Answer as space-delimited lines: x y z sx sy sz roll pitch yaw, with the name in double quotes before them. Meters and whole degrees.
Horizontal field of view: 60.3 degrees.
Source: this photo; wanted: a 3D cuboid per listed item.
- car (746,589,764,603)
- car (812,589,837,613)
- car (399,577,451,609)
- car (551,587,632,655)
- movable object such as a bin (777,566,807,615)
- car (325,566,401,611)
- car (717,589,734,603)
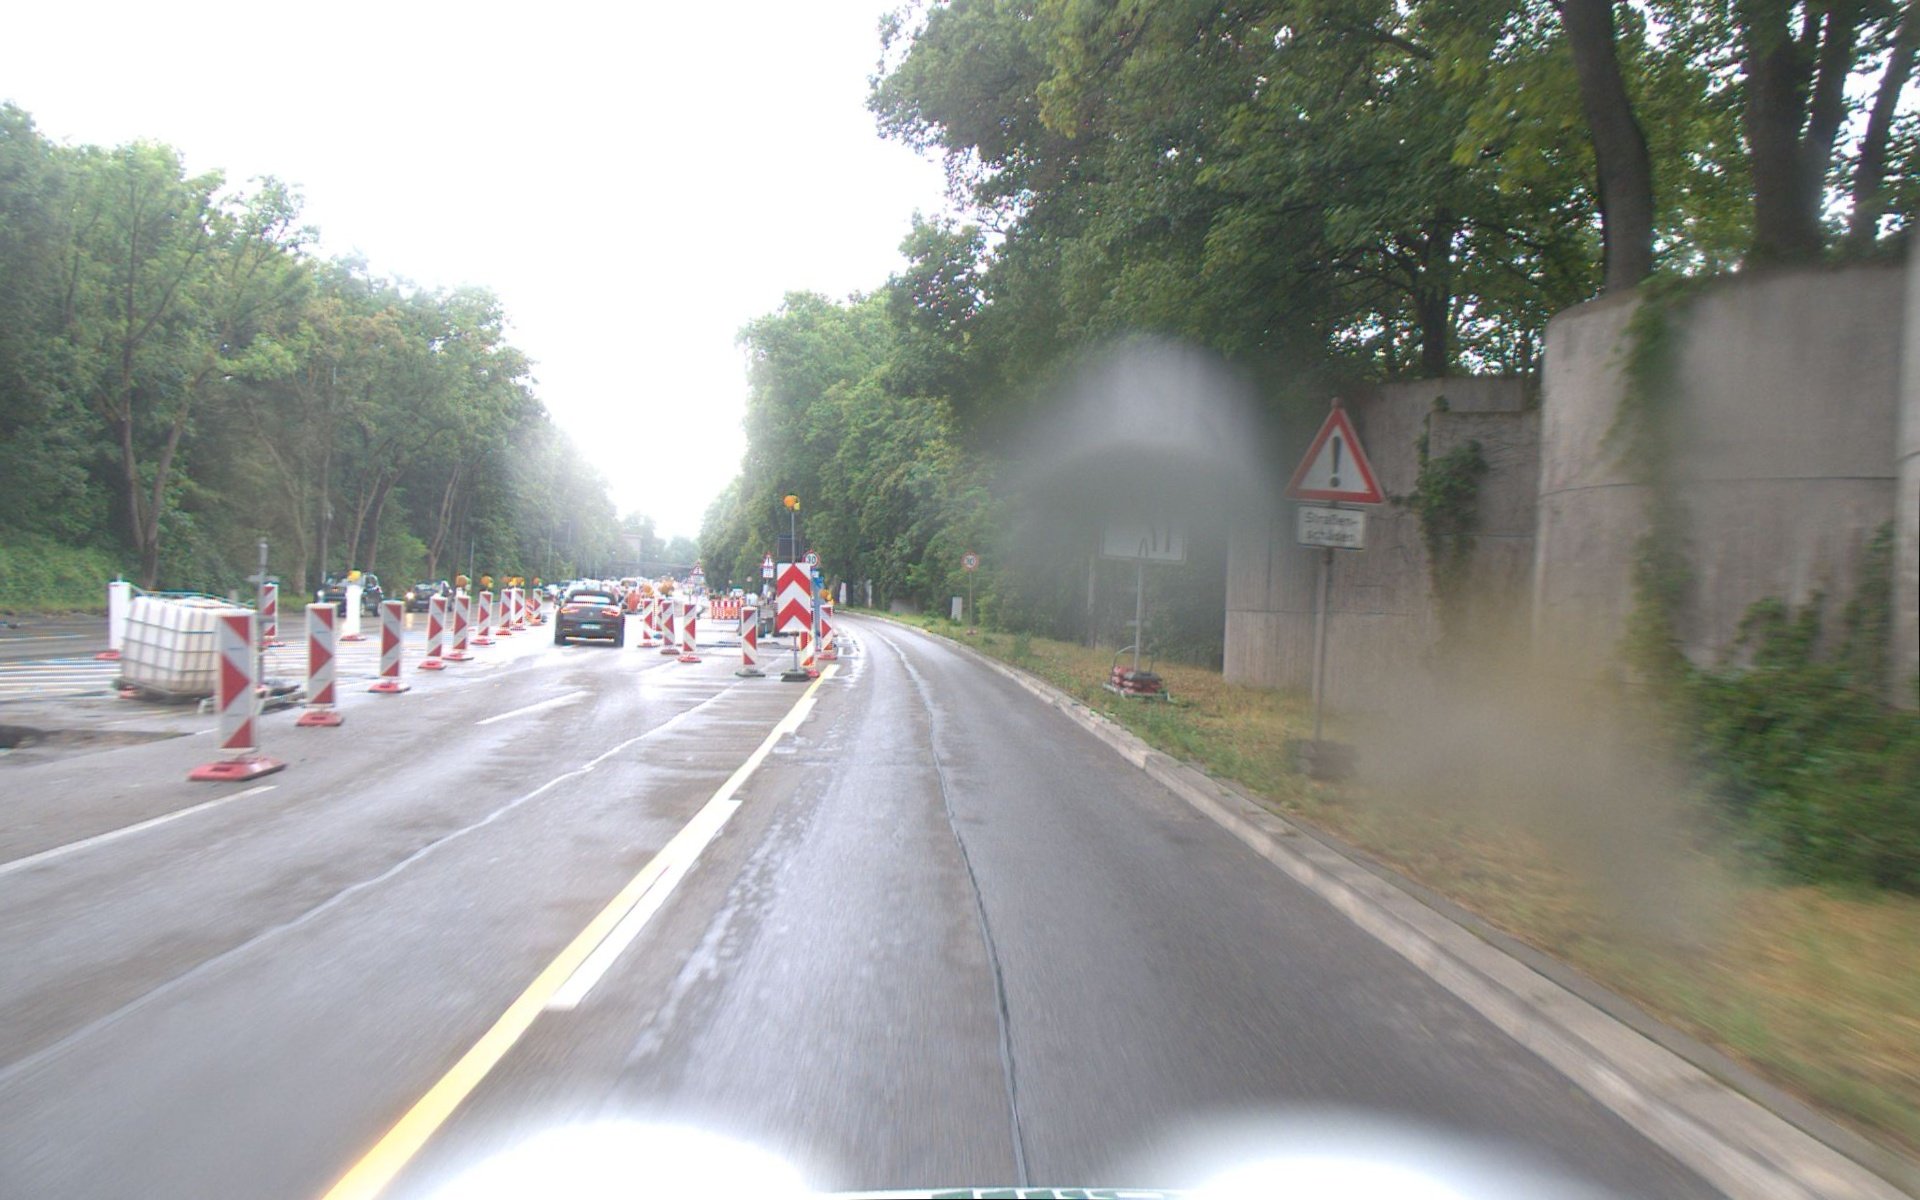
"car" -22.967 -0.474 185.554 1.725 1.367 3.991 3 1 -10
"car" -10.517 0.060 128.236 1.877 1.625 4.829 2 1 -5
"car" -25.304 -0.316 78.331 1.495 1.483 3.537 0 0 -3
"car" -9.949 0.540 44.883 1.828 1.517 3.993 3 2 -9
"movable object such as a bin" -10.225 -0.568 100.607 1.713 2.917 3.529 1 0 -6
"car" -23.162 -0.467 64.312 1.603 1.676 4.197 1 0 -3
"car" -30.821 -0.479 217.361 1.839 1.646 3.996 4 1 -5
